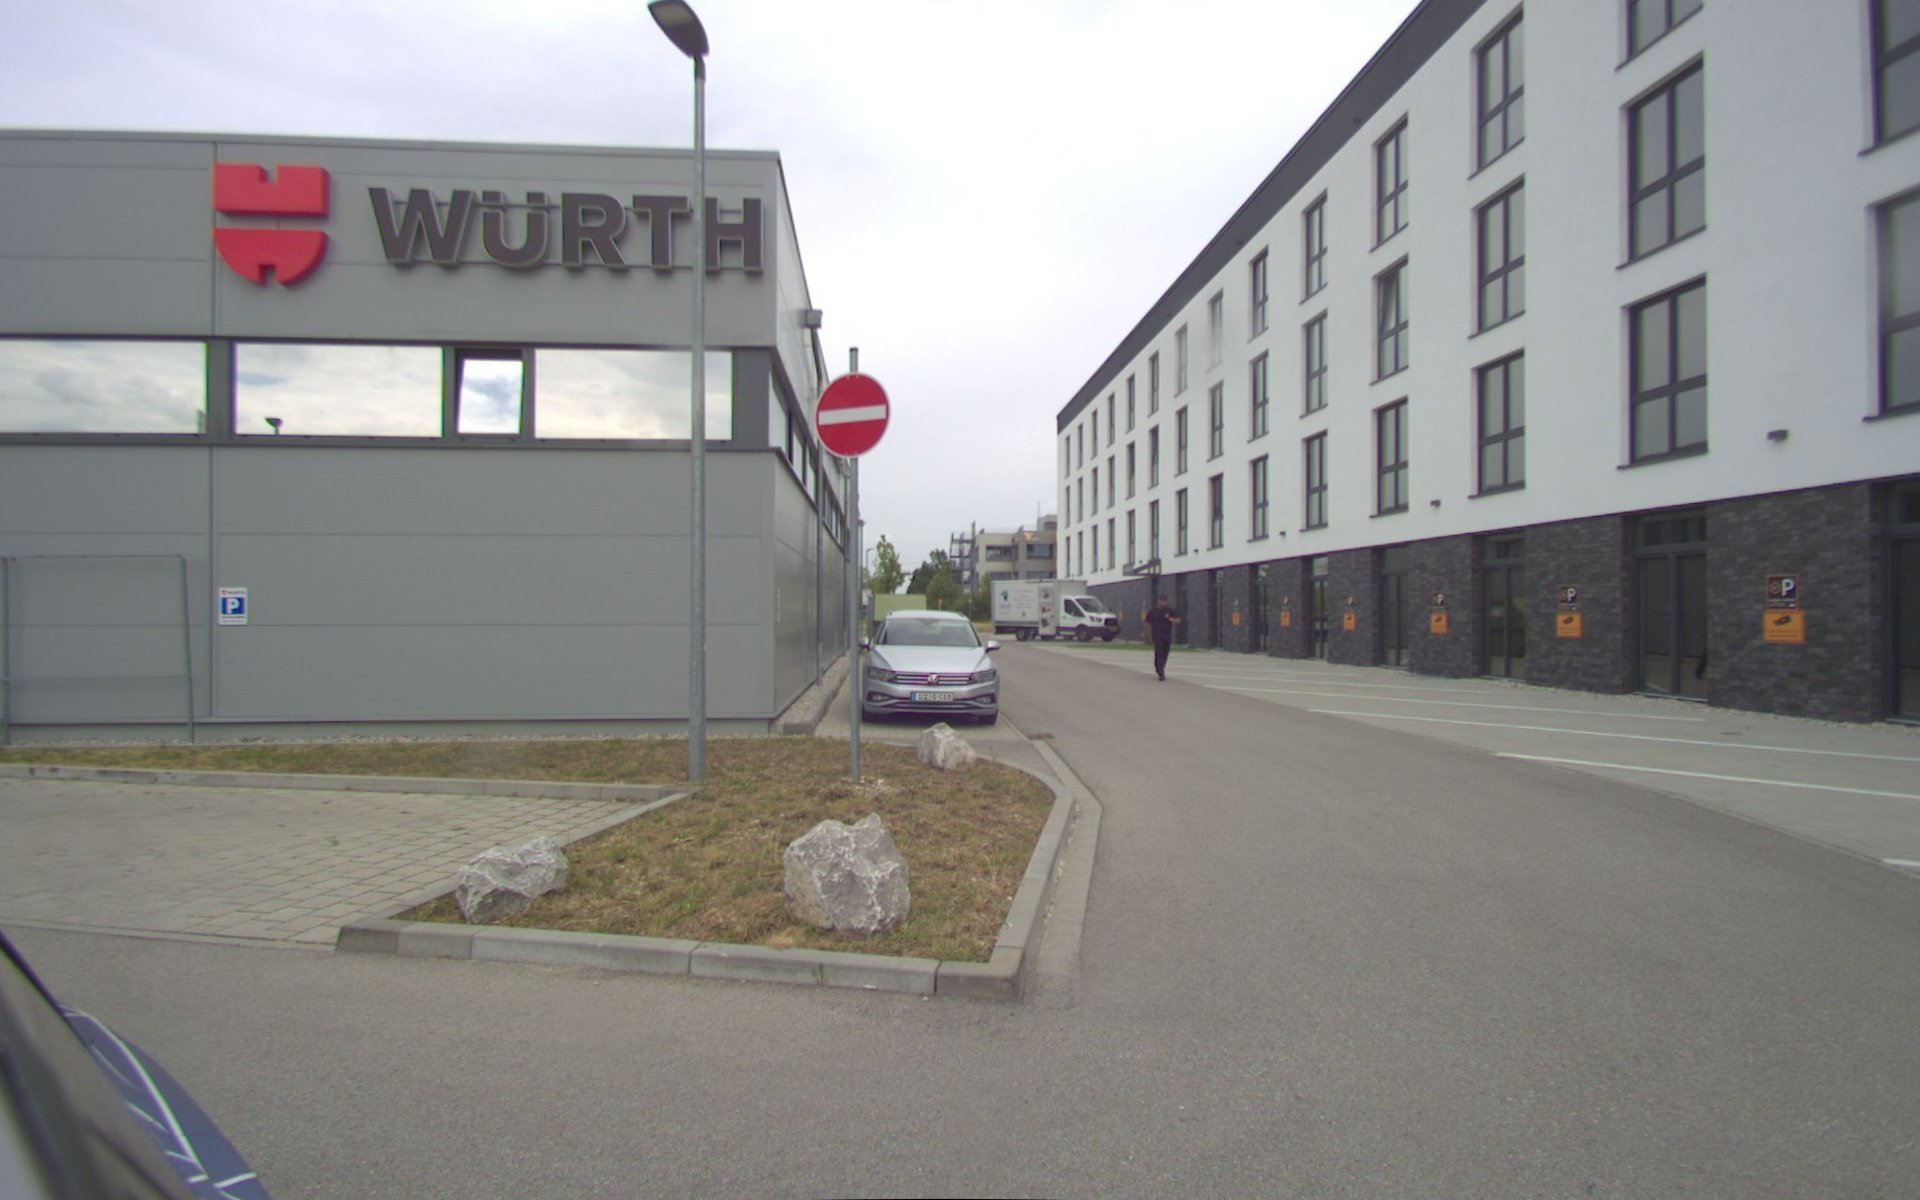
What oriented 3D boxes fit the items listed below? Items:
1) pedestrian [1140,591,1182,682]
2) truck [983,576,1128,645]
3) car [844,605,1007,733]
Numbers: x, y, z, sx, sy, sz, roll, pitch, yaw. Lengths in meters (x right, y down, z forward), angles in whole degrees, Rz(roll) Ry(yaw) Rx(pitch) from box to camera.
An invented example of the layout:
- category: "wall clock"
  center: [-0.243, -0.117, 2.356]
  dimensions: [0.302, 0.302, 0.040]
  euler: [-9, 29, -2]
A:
- category: "pedestrian"
  center: [4.123, 0.737, 20.795]
  dimensions: [0.700, 1.836, 0.812]
  euler: [0, -1, 2]
- category: "truck"
  center: [4.453, 0.515, 48.356]
  dimensions: [2.400, 3.039, 7.077]
  euler: [0, -1, -43]
- category: "car"
  center: [-0.326, 0.872, 14.741]
  dimensions: [1.955, 1.503, 4.766]
  euler: [2, -1, 3]
